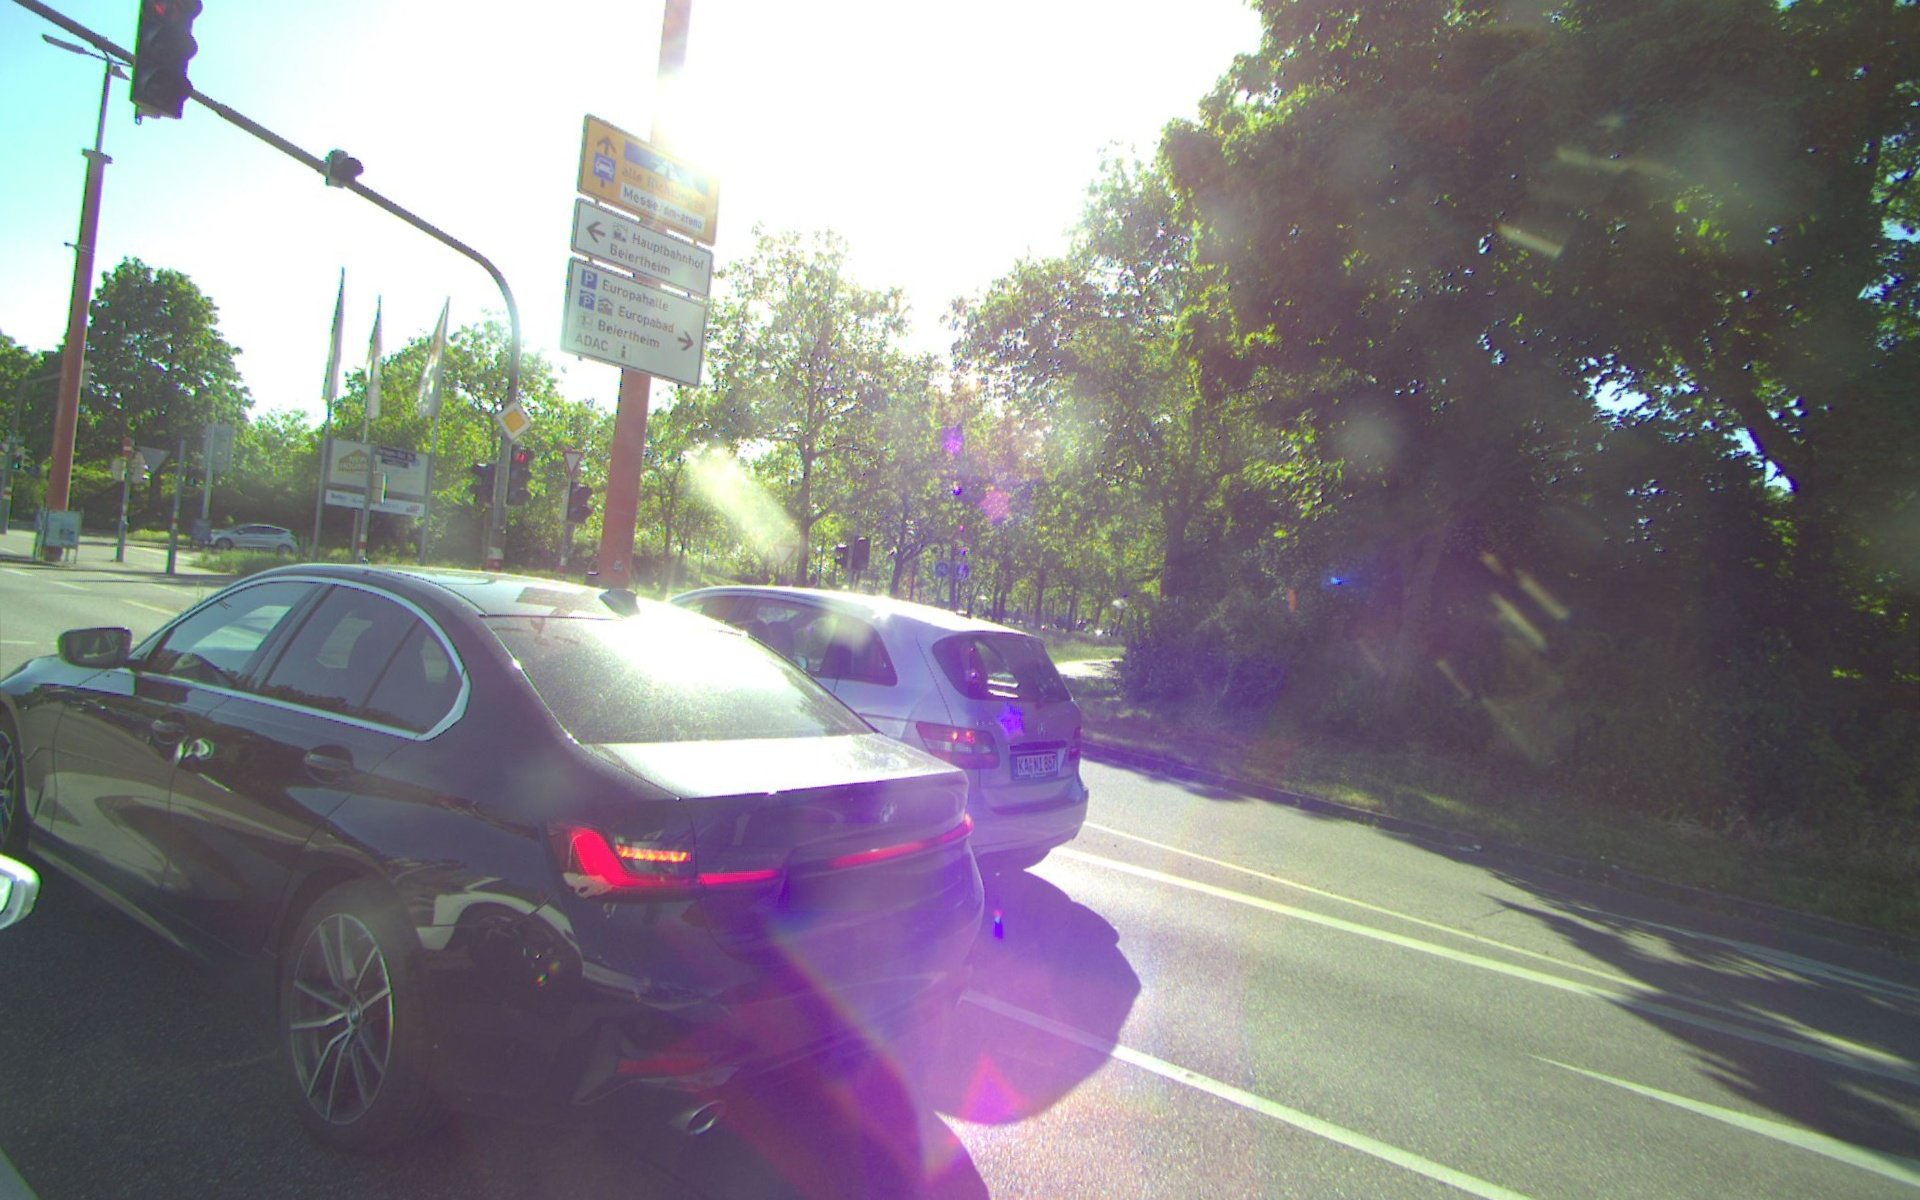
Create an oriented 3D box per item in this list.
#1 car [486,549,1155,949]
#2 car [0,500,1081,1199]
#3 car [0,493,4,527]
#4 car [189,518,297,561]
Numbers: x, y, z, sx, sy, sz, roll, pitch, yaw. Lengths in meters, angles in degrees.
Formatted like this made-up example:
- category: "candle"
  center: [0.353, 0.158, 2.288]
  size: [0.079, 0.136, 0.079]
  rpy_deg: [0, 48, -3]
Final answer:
- category: "car"
  center: [-1.013, 0.708, 6.482]
  size: [3.963, 1.597, 1.741]
  rpy_deg: [7, 0, 33]
- category: "car"
  center: [-1.977, 0.547, 3.857]
  size: [4.372, 1.415, 1.871]
  rpy_deg: [7, 0, 34]
- category: "car"
  center: [-44.830, -4.277, 43.731]
  size: [4.270, 1.503, 1.777]
  rpy_deg: [7, 0, -21]
- category: "car"
  center: [-35.162, -2.957, 49.395]
  size: [1.661, 1.485, 3.976]
  rpy_deg: [7, -1, 42]
